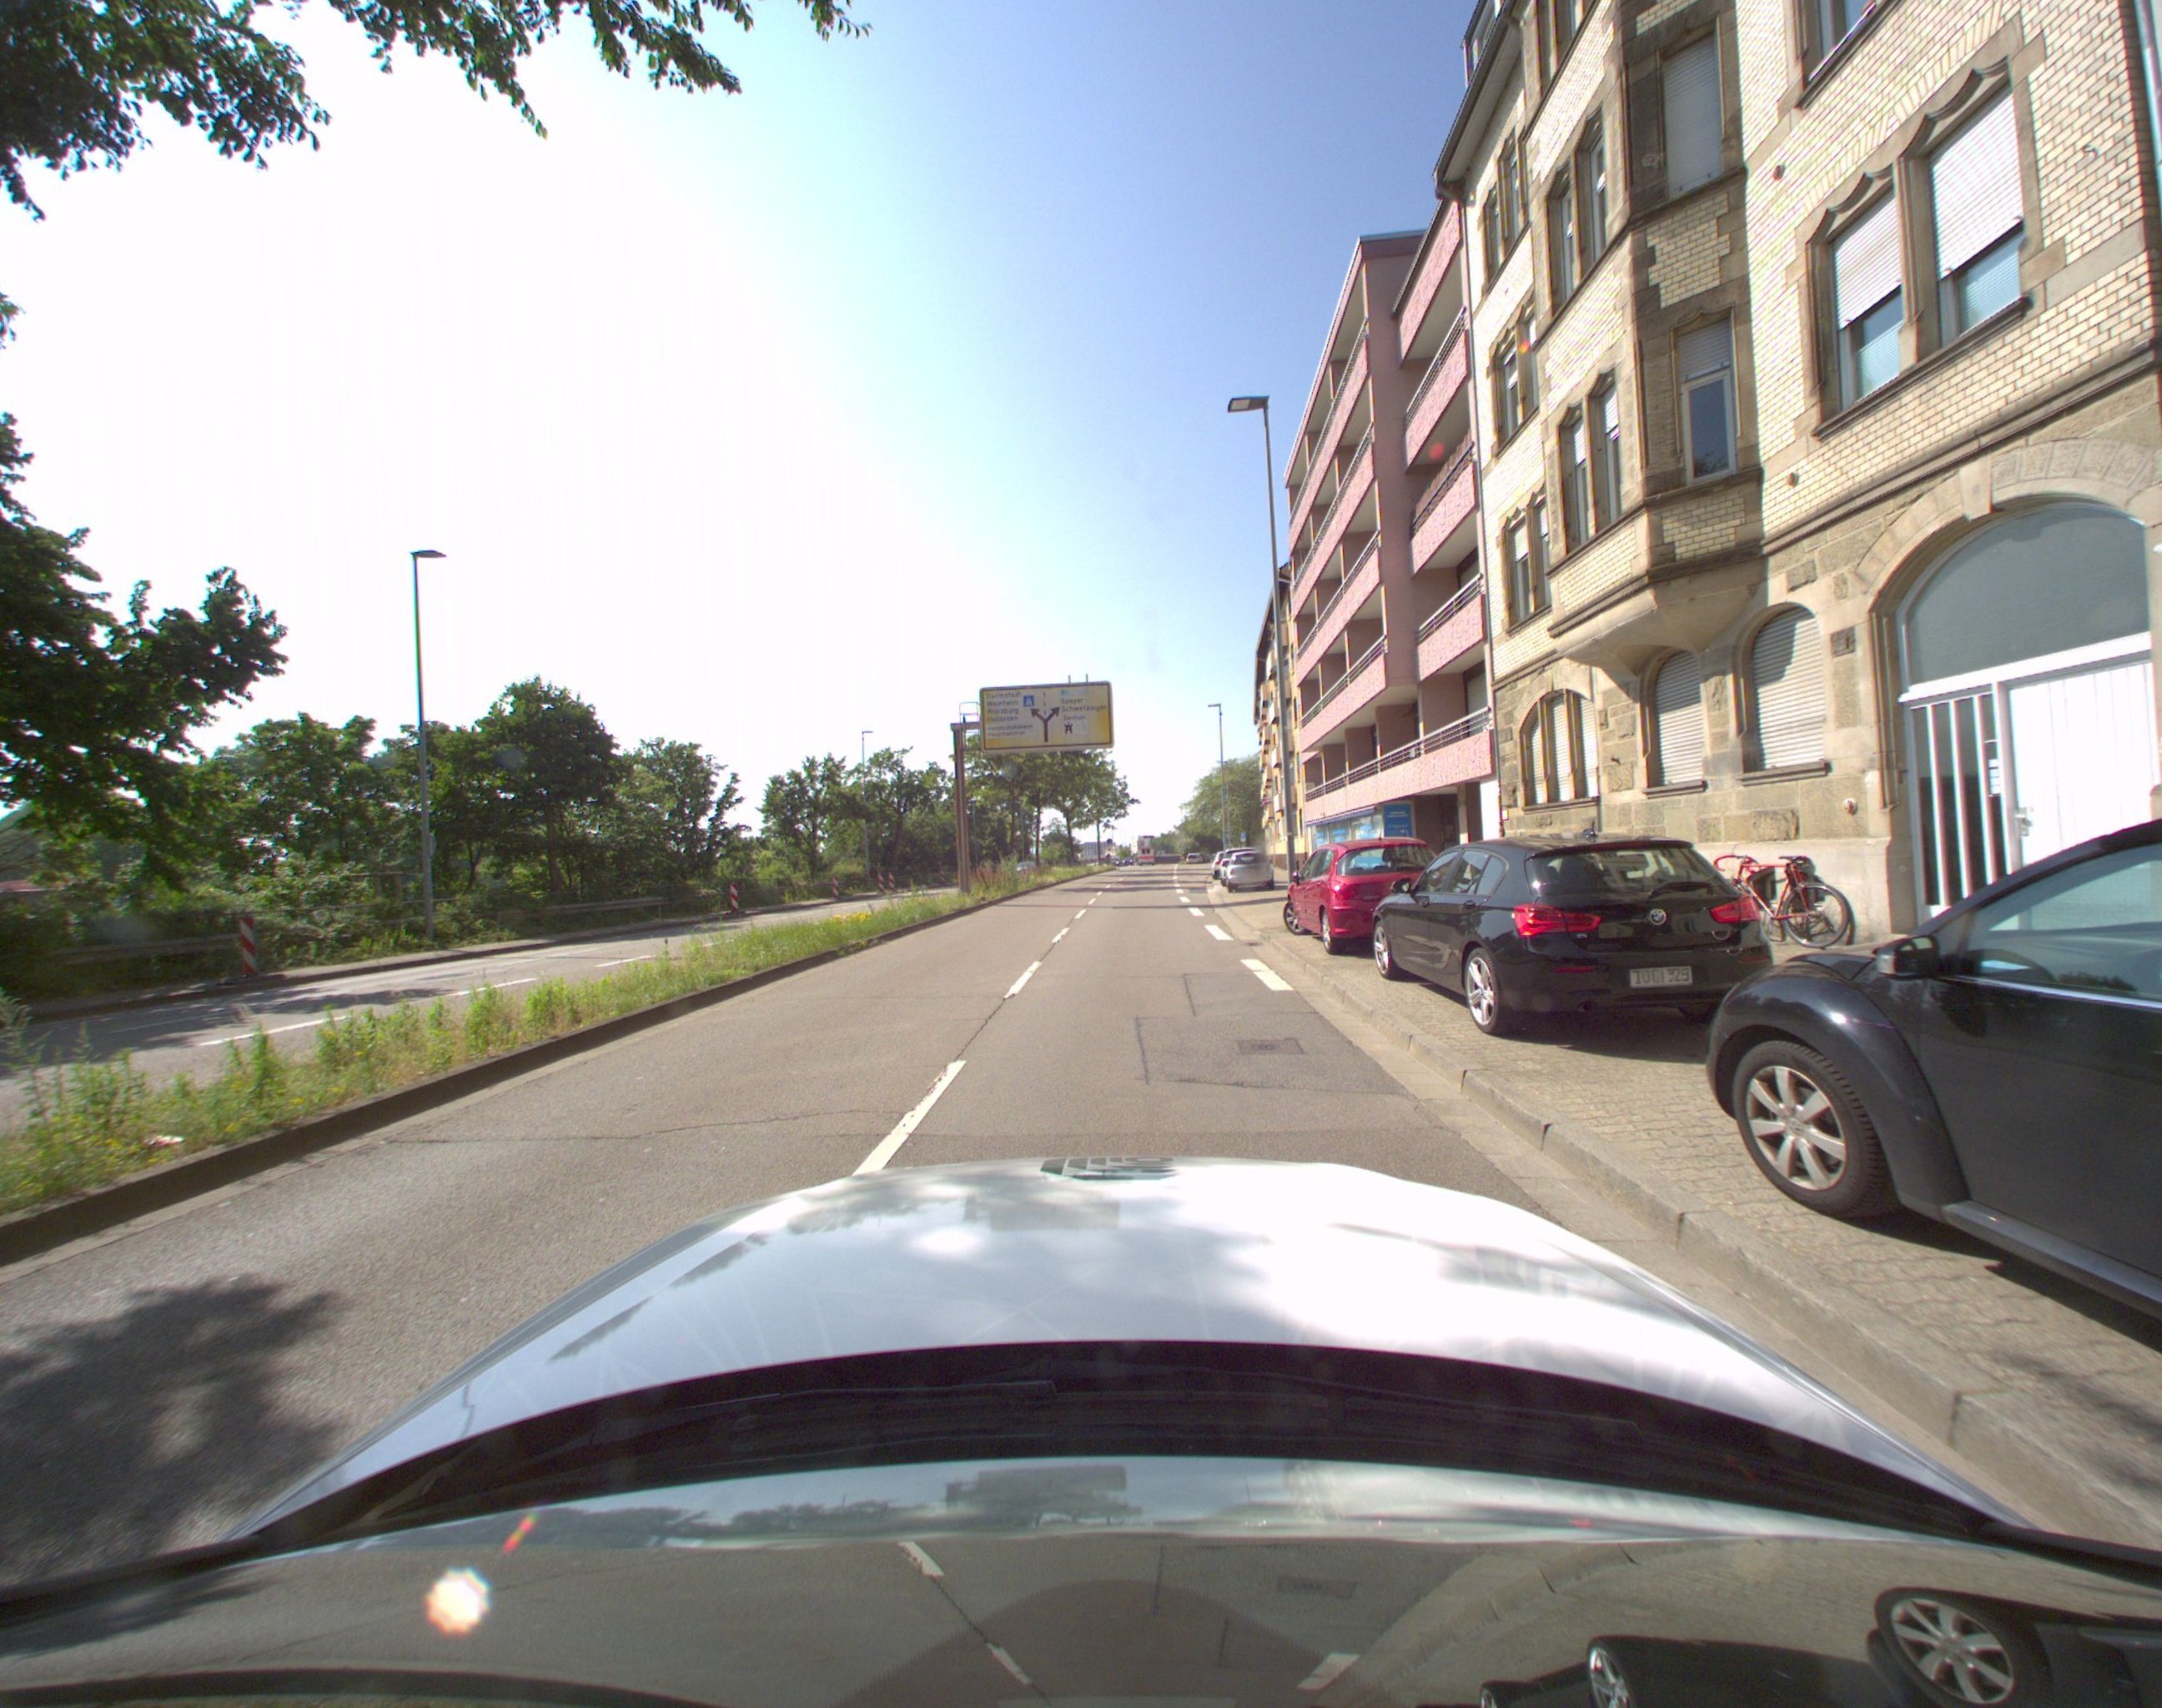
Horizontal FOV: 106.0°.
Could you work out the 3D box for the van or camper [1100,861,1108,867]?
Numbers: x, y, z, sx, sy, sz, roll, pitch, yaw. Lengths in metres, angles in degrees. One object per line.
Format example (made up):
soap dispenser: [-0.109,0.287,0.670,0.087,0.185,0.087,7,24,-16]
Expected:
van or camper: [5.901,2.625,208.430,1.459,1.350,4.638,-2,0,6]

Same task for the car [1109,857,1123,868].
car: [5.195,1.308,120.523,1.788,1.530,4.007,-2,-1,6]

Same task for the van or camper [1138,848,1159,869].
van or camper: [9.625,0.658,115.995,2.282,2.789,5.588,-2,-1,11]

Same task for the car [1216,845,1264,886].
car: [6.788,0.471,35.077,1.726,1.541,4.364,-3,-1,8]

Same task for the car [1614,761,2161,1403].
car: [3.305,0.488,1.858,1.635,1.501,4.013,-4,-1,3]

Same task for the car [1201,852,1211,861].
car: [22.619,0.459,147.109,1.652,1.511,3.802,0,0,12]

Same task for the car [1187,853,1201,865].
car: [16.077,0.715,116.100,1.608,1.505,3.473,-3,-1,12]

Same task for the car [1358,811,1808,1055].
car: [3.812,0.510,7.139,1.634,1.453,4.132,-3,-1,5]

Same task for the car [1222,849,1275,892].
car: [6.178,0.580,30.307,1.668,1.409,3.439,-4,0,9]

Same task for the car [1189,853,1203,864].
car: [17.059,0.705,120.580,1.709,1.505,4.146,-3,-1,12]

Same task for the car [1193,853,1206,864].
car: [18.329,0.650,125.959,1.761,1.579,4.197,-3,-1,9]

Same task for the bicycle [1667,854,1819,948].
bicycle: [7.556,0.497,9.391,0.505,0.970,1.655,-3,-1,6]

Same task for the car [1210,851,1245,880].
car: [8.051,0.638,44.917,1.746,1.506,4.137,-1,-1,8]

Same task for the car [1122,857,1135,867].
car: [8.409,1.407,143.897,1.753,1.474,4.094,-3,-1,8]

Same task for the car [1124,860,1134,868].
car: [11.312,2.302,192.976,1.983,1.734,4.739,-2,-1,7]

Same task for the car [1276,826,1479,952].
car: [4.188,0.456,12.214,1.777,1.482,4.005,-4,-1,4]
